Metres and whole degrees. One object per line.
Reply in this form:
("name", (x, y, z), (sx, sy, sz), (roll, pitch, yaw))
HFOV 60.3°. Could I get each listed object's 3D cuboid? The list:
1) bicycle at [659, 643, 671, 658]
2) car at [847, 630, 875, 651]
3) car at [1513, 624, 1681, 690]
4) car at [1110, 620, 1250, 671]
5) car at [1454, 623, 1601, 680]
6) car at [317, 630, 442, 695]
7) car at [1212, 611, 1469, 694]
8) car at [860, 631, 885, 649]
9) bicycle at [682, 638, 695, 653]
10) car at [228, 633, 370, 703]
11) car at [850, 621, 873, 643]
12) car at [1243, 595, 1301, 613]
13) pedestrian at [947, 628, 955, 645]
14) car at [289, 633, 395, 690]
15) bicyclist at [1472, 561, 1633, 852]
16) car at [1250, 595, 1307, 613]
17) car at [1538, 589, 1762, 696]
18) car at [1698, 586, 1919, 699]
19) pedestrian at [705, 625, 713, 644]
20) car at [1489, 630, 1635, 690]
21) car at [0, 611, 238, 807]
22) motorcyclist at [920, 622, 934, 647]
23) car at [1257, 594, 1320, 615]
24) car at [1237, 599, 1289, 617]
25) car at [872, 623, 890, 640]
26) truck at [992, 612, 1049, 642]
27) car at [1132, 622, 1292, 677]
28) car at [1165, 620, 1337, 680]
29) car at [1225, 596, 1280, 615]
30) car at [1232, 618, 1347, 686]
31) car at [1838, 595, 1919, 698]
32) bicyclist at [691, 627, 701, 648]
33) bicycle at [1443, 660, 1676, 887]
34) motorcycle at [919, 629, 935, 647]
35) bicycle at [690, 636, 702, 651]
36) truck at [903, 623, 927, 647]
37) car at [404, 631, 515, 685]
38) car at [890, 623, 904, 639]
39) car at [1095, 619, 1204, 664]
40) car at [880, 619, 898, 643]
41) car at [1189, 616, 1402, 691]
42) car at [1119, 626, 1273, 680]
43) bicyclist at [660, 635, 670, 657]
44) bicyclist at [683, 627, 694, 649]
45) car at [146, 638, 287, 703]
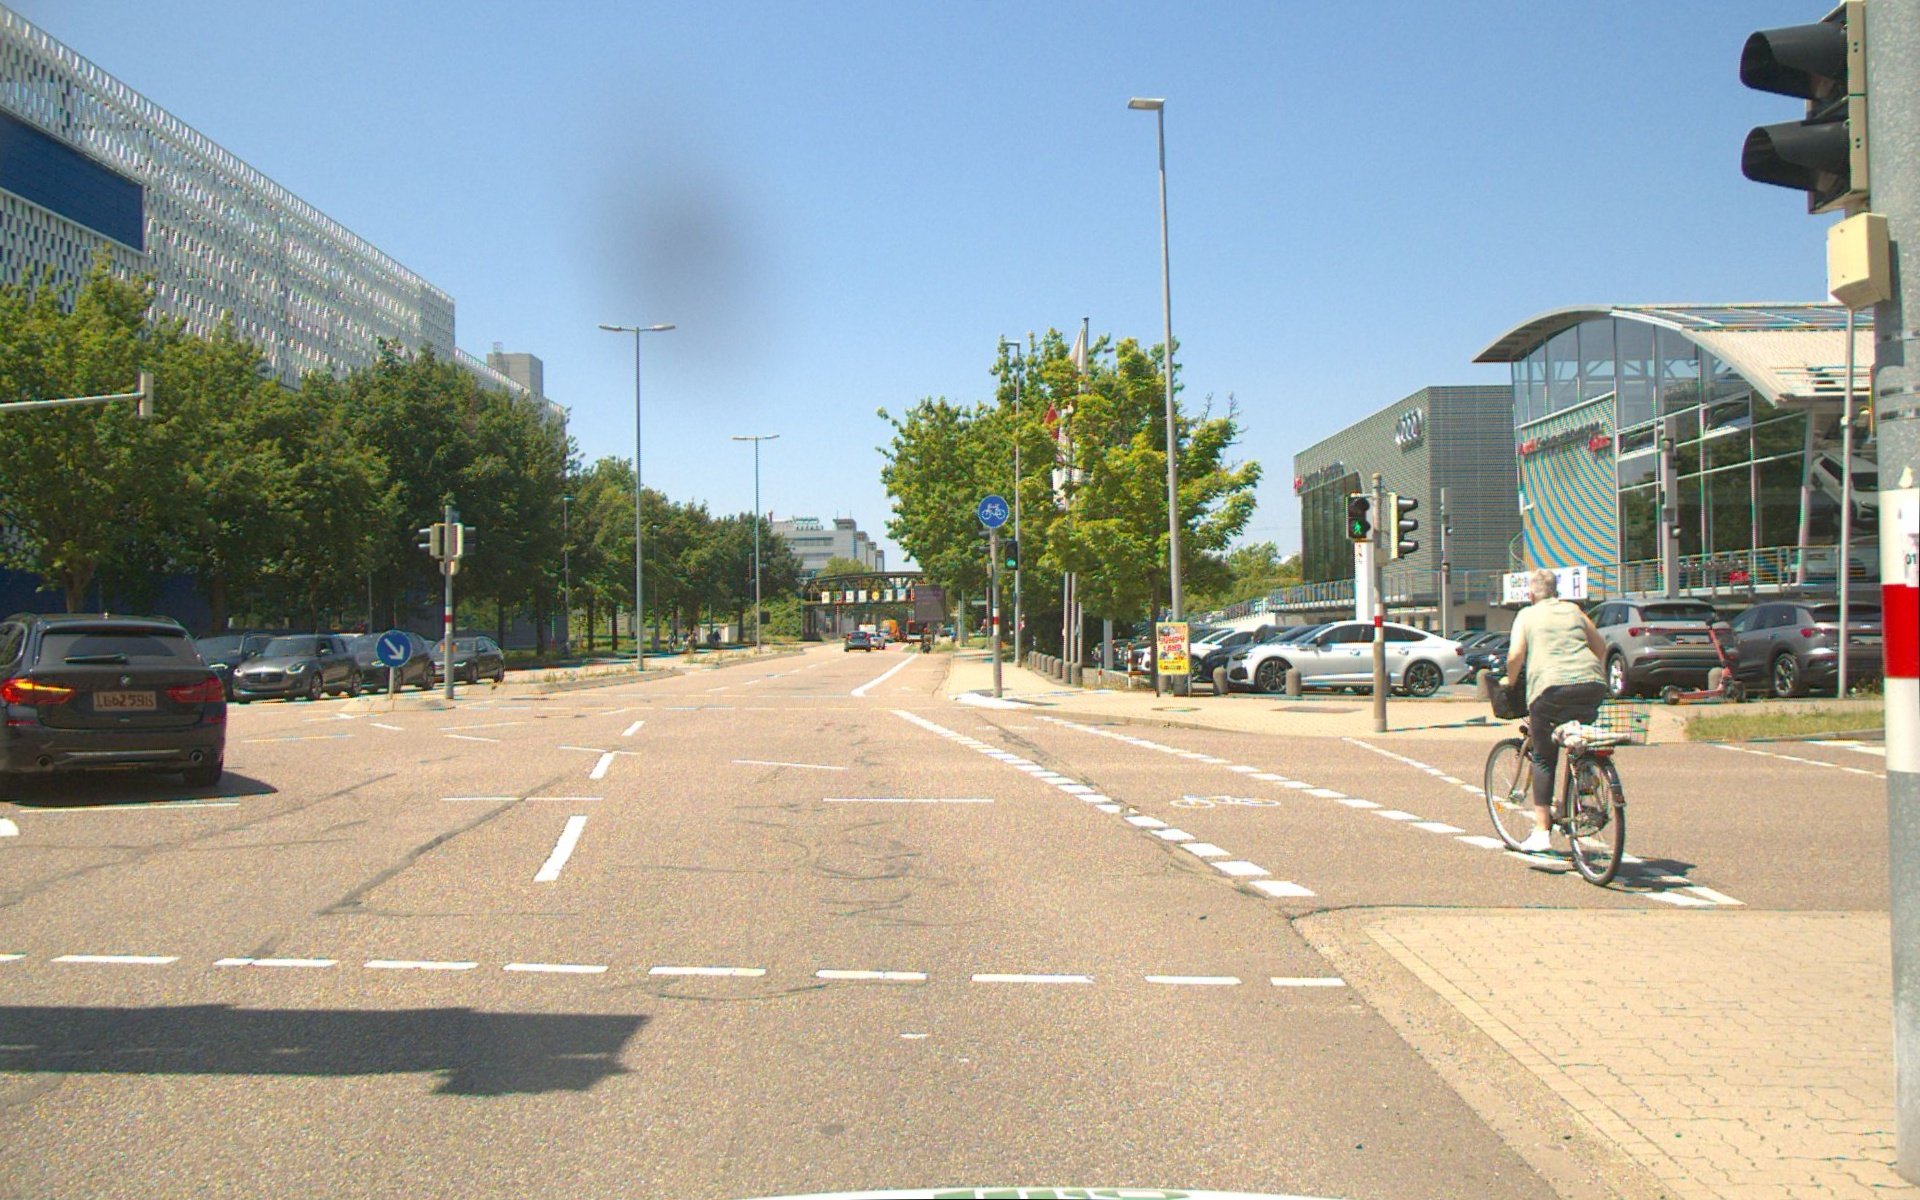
("bicycle", (-22.485, 3.832, 126.014), (0.624, 1.153, 1.970), (-1, -1, -1))
("car", (-7.078, 2.889, 118.618), (1.862, 1.400, 4.230), (-1, -1, -1))
("car", (17.198, 1.534, 44.778), (3.904, 1.650, 1.656), (2, -1, -1))
("car", (6.694, 1.374, 50.632), (4.017, 1.429, 1.868), (2, -1, -1))
("car", (17.258, 1.548, 50.402), (3.901, 1.601, 1.633), (2, -1, -1))
("car", (-15.056, 1.606, 43.141), (1.691, 1.531, 4.243), (-3, -2, 0))
("car", (7.216, 0.994, 31.669), (4.497, 1.415, 1.869), (1, -1, 1))
("car", (-7.298, 3.334, 138.101), (1.885, 1.445, 3.999), (0, -1, -1))
("bicycle", (-20.717, 3.455, 126.253), (0.725, 1.145, 2.432), (-1, -1, -4))
("car", (-14.731, 1.495, 37.052), (1.610, 1.413, 3.715), (-3, -2, 0))
("car", (-9.064, 2.972, 152.876), (1.953, 2.049, 3.999), (0, -1, -1))
("car", (22.578, 0.311, 119.773), (3.862, 1.232, 1.715), (0, -1, -5))
("pedestrian", (-0.794, 3.169, 143.390), (0.611, 1.399, 0.564), (-1, -1, -2))
("car", (-18.185, 1.790, 48.834), (1.691, 1.571, 3.914), (-2, -2, -1))
("bicyclist", (3.478, 0.607, 9.761), (0.615, 1.634, 0.825), (1, -1, -3))
("car", (22.488, 0.302, 116.855), (3.652, 1.150, 1.682), (1, -1, -5))
("car", (11.340, 0.730, 27.546), (1.830, 1.586, 4.503), (-2, -2, 1))
("car", (13.904, 0.684, 27.276), (1.806, 1.683, 3.999), (1, -1, 3))
("pedestrian", (-25.161, 3.482, 165.655), (0.728, 1.917, 0.577), (-1, -1, 0))
("car", (17.203, 1.698, 47.369), (3.573, 1.608, 1.642), (2, -1, -1))
("car", (-7.928, 0.865, 14.833), (1.783, 1.466, 4.499), (0, -1, -35))
("motorcyclist", (-2.078, 2.159, 104.156), (0.706, 1.556, 0.868), (1, -2, -10))
("car", (22.709, 0.294, 114.419), (3.909, 1.335, 1.795), (1, -1, -5))
("car", (22.393, 0.585, 122.223), (3.454, 1.261, 1.675), (1, -1, -5))
("car", (-8.786, 3.511, 184.879), (1.856, 1.847, 3.999), (-1, -1, -1))
("truck", (6.135, 2.744, 169.218), (5.488, 2.900, 2.620), (1, -1, -6))
("car", (6.801, 1.329, 44.901), (4.015, 1.372, 1.868), (2, -1, -1))
("car", (7.358, 1.265, 42.075), (4.012, 1.388, 1.874), (2, -1, -1))
("car", (22.541, 0.406, 127.515), (3.909, 1.335, 1.795), (1, -1, -5))
("car", (7.570, 1.173, 38.387), (1.824, 1.444, 4.663), (1, -1, 2))
("car", (16.665, 0.790, 27.462), (1.808, 1.683, 3.994), (2, -1, -5))
("bicyclist", (-21.680, 3.078, 135.816), (0.621, 1.657, 1.044), (-3, -1, -1))
("bicycle", (3.480, 0.961, 9.785), (0.615, 1.153, 1.894), (0, -1, -3))
("motorcycle", (-2.075, 2.398, 104.138), (0.703, 1.124, 1.826), (1, -1, -10))
("bicycle", (-21.659, 3.568, 135.821), (0.616, 1.179, 2.117), (-3, -1, -1))
("truck", (-4.837, 3.721, 177.631), (2.408, 2.453, 7.132), (1, -1, 0))
("car", (-15.057, 1.720, 50.031), (1.691, 1.471, 4.720), (-3, -1, 2))
("car", (-8.448, 4.149, 221.714), (1.715, 2.049, 3.870), (-1, -1, -1))
("car", (6.689, 1.471, 58.626), (3.606, 1.479, 1.833), (2, -1, -1))
("car", (-8.737, 3.799, 204.247), (2.031, 2.905, 6.762), (-1, -1, -1))
("car", (6.880, 1.090, 34.225), (4.012, 1.415, 1.868), (2, -1, -1))
("car", (6.760, 1.526, 47.687), (4.139, 1.415, 1.868), (2, -1, -1))
("bicyclist", (-22.488, 3.514, 126.000), (0.624, 1.610, 0.884), (-1, -1, -1))
("bicyclist", (-20.721, 2.897, 126.165), (0.730, 1.715, 0.951), (-1, -1, -4))
("car", (-17.989, 1.676, 40.209), (1.627, 1.449, 4.037), (-2, -2, -1))
